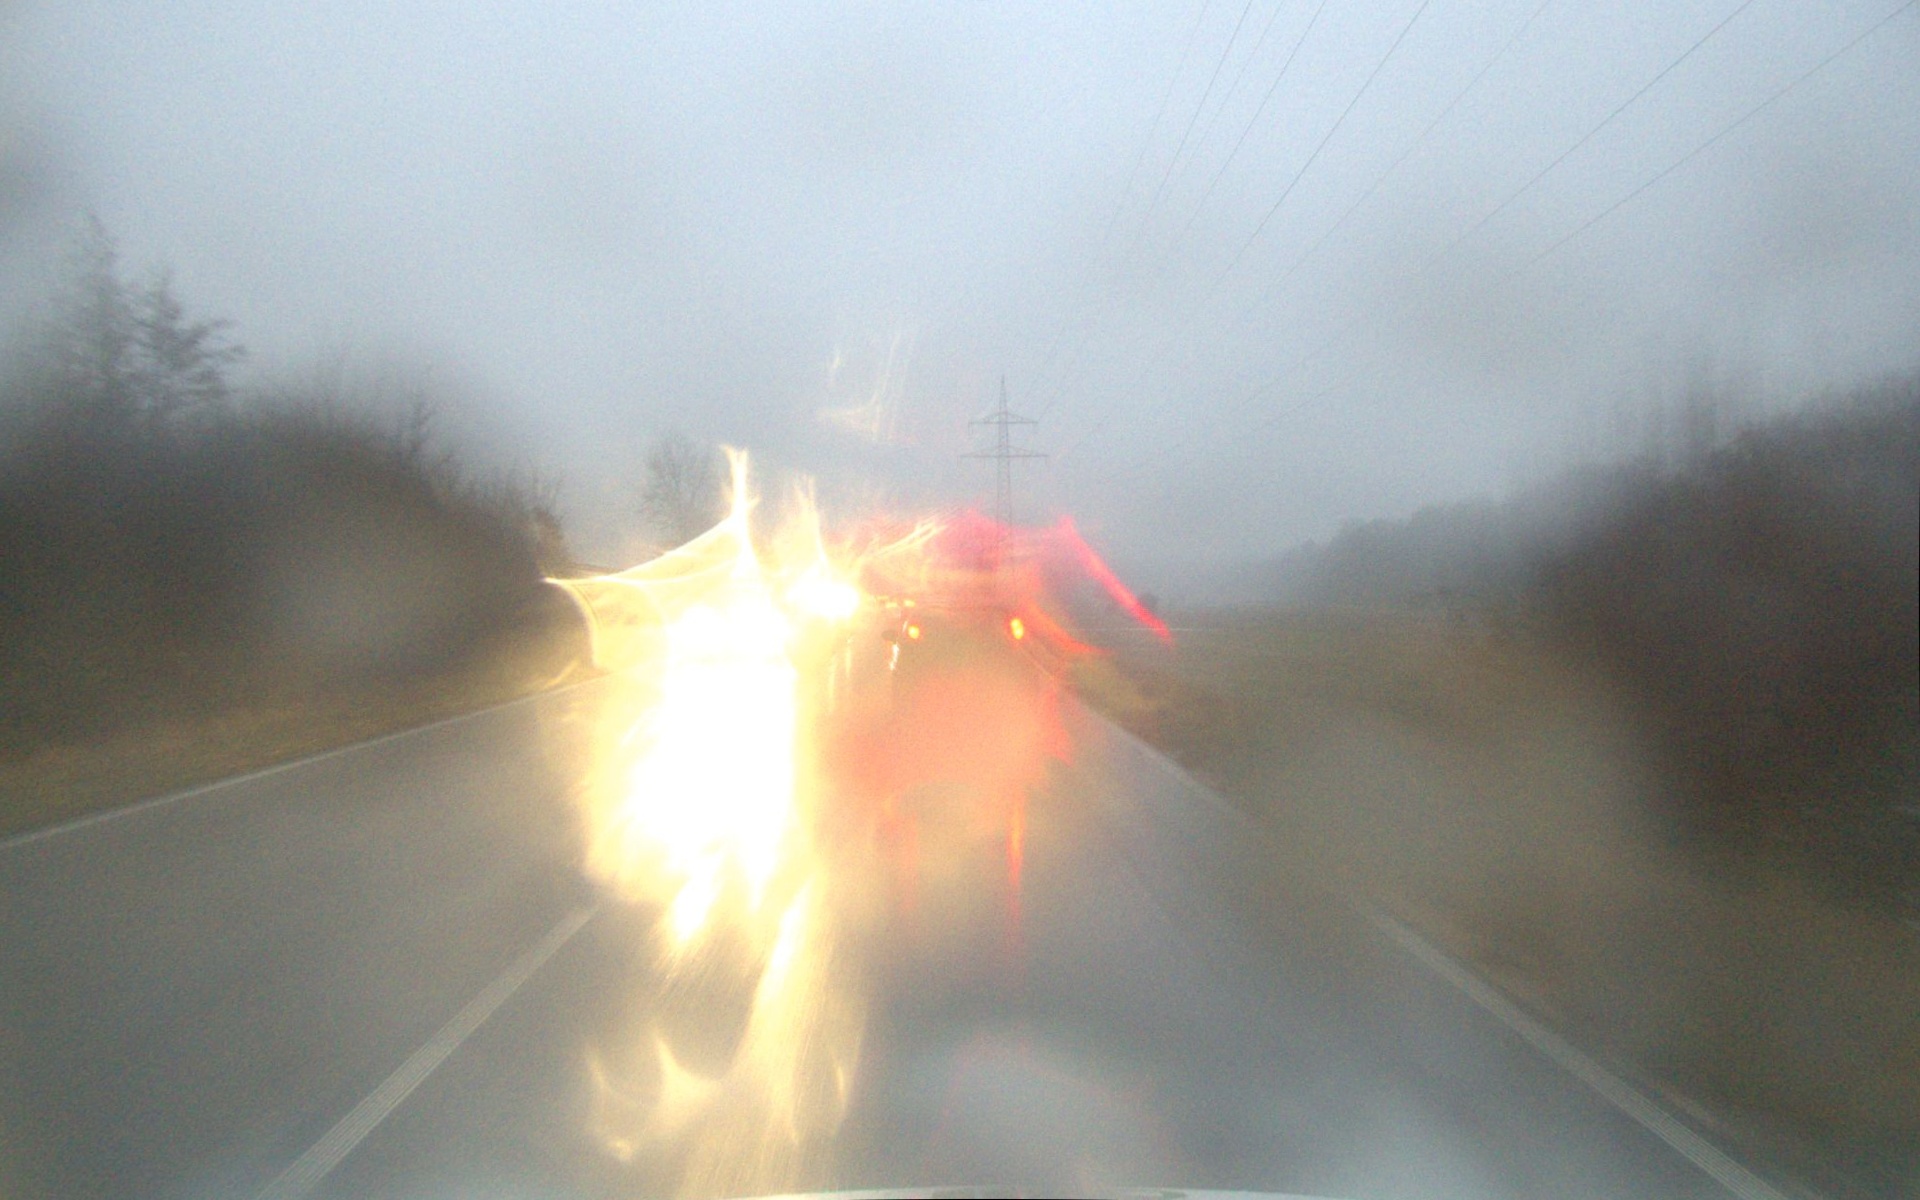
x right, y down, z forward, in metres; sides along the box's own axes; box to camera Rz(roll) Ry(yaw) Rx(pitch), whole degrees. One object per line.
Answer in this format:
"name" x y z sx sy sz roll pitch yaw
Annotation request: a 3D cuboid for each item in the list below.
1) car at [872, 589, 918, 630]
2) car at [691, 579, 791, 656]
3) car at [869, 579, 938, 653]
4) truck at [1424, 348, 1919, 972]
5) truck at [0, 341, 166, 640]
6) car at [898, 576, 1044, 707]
"car" -2.705 0.352 68.103 1.734 1.619 4.161 0 0 -4
"car" -4.819 0.347 36.828 1.733 1.619 4.163 0 0 -1
"car" -1.687 0.439 48.125 1.816 2.049 3.996 1 0 -4
"truck" 5.780 0.297 11.812 2.483 3.030 7.854 1 0 -2
"truck" -28.798 -2.892 32.404 7.389 7.848 40.143 1 0 0
"car" 0.068 0.451 19.681 1.471 1.423 3.197 1 0 -4
